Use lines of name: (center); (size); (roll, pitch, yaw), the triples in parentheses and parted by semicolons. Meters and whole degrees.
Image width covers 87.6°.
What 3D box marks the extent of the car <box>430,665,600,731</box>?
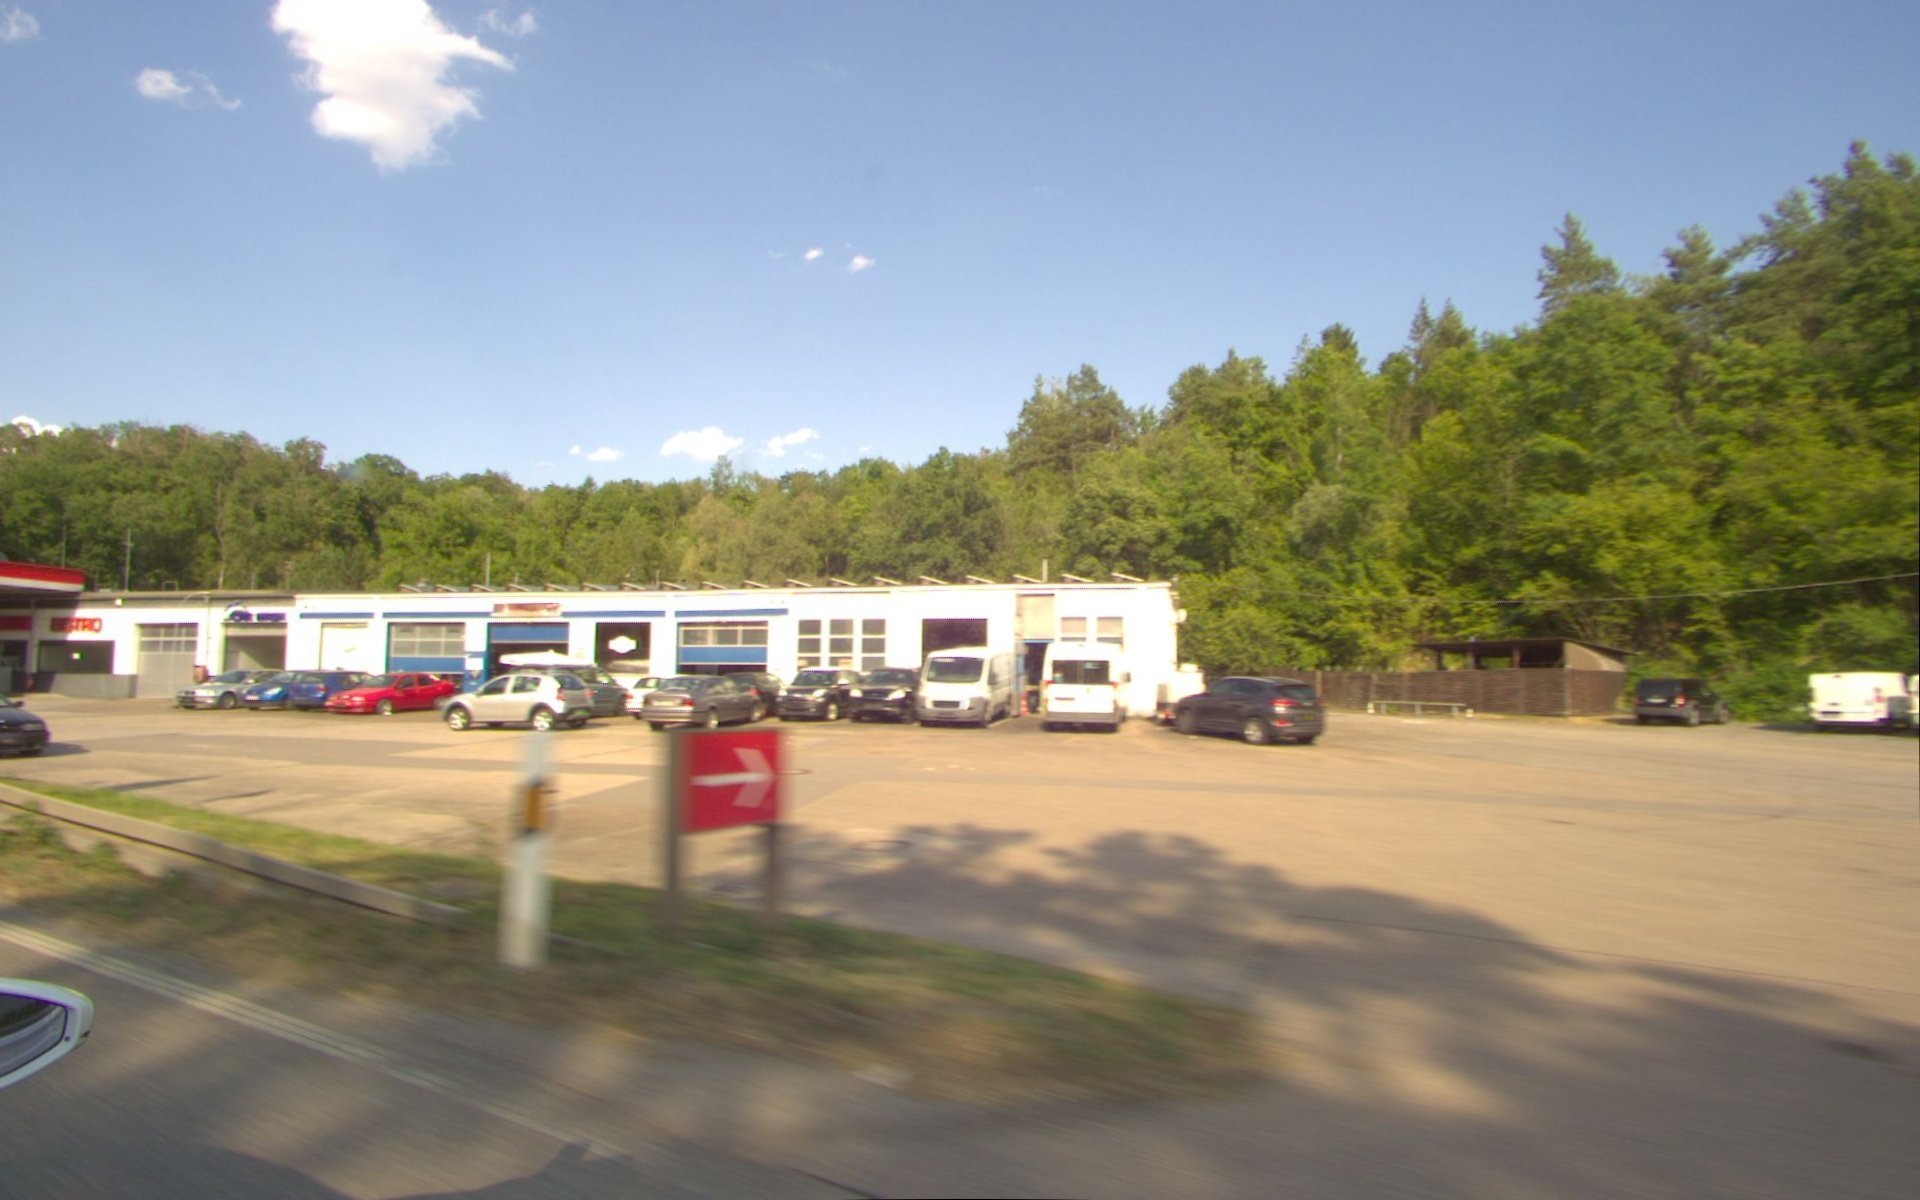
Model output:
car: (-12.164, 2.641, 27.473); (3.913, 1.617, 1.796); (0, -1, 10)

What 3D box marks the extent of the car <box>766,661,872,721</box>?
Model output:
car: (-4.363, 2.808, 31.753); (1.860, 1.631, 4.252); (0, -2, 14)

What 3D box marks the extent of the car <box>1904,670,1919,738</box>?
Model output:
car: (31.192, 3.233, 30.936); (4.502, 2.038, 1.988); (4, -4, -34)

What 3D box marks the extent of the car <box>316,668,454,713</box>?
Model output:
car: (-20.042, 3.114, 35.109); (1.860, 1.365, 4.079); (0, -2, 14)

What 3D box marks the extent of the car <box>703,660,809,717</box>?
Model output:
car: (-6.614, 2.841, 32.949); (1.860, 1.631, 3.998); (0, -2, 14)

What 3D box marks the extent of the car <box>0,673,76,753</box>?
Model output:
car: (-19.196, 2.103, 19.158); (4.202, 1.369, 1.826); (0, -3, 25)

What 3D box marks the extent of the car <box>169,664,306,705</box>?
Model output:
car: (-26.478, 3.067, 36.882); (1.743, 1.371, 3.971); (0, -3, 10)

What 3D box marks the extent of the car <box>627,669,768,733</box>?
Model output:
car: (-7.240, 2.756, 28.181); (1.920, 1.452, 4.734); (0, -2, 12)

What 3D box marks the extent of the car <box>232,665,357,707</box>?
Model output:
car: (-24.000, 3.088, 36.253); (1.659, 1.423, 3.562); (0, -4, 14)

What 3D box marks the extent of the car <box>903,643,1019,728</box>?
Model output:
car: (0.172, 2.489, 30.586); (2.252, 2.302, 5.490); (0, -2, 14)

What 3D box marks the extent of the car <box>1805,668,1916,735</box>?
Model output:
car: (29.784, 3.316, 33.089); (4.050, 2.038, 1.986); (4, -4, -37)

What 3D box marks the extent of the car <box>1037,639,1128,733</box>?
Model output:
car: (3.675, 2.399, 29.156); (2.166, 2.480, 4.923); (0, -2, 12)

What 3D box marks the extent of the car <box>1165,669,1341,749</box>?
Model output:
car: (7.458, 2.749, 25.979); (1.914, 1.691, 4.387); (3, -2, -26)

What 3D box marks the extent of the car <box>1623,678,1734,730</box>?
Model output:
car: (26.733, 3.803, 37.237); (4.500, 1.695, 1.984); (2, -3, -35)

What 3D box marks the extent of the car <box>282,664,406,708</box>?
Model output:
car: (-21.919, 3.053, 35.794); (1.702, 1.463, 3.556); (0, -4, 14)

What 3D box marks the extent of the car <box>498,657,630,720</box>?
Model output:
car: (-12.493, 2.756, 31.910); (1.856, 1.751, 4.260); (0, -2, 11)

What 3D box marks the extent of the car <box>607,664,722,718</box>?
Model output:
car: (-9.602, 2.932, 32.869); (1.835, 1.480, 4.157); (0, -2, 13)

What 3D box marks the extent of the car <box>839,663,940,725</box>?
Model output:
car: (-2.074, 2.817, 30.865); (1.889, 1.631, 4.170); (0, -2, 14)
